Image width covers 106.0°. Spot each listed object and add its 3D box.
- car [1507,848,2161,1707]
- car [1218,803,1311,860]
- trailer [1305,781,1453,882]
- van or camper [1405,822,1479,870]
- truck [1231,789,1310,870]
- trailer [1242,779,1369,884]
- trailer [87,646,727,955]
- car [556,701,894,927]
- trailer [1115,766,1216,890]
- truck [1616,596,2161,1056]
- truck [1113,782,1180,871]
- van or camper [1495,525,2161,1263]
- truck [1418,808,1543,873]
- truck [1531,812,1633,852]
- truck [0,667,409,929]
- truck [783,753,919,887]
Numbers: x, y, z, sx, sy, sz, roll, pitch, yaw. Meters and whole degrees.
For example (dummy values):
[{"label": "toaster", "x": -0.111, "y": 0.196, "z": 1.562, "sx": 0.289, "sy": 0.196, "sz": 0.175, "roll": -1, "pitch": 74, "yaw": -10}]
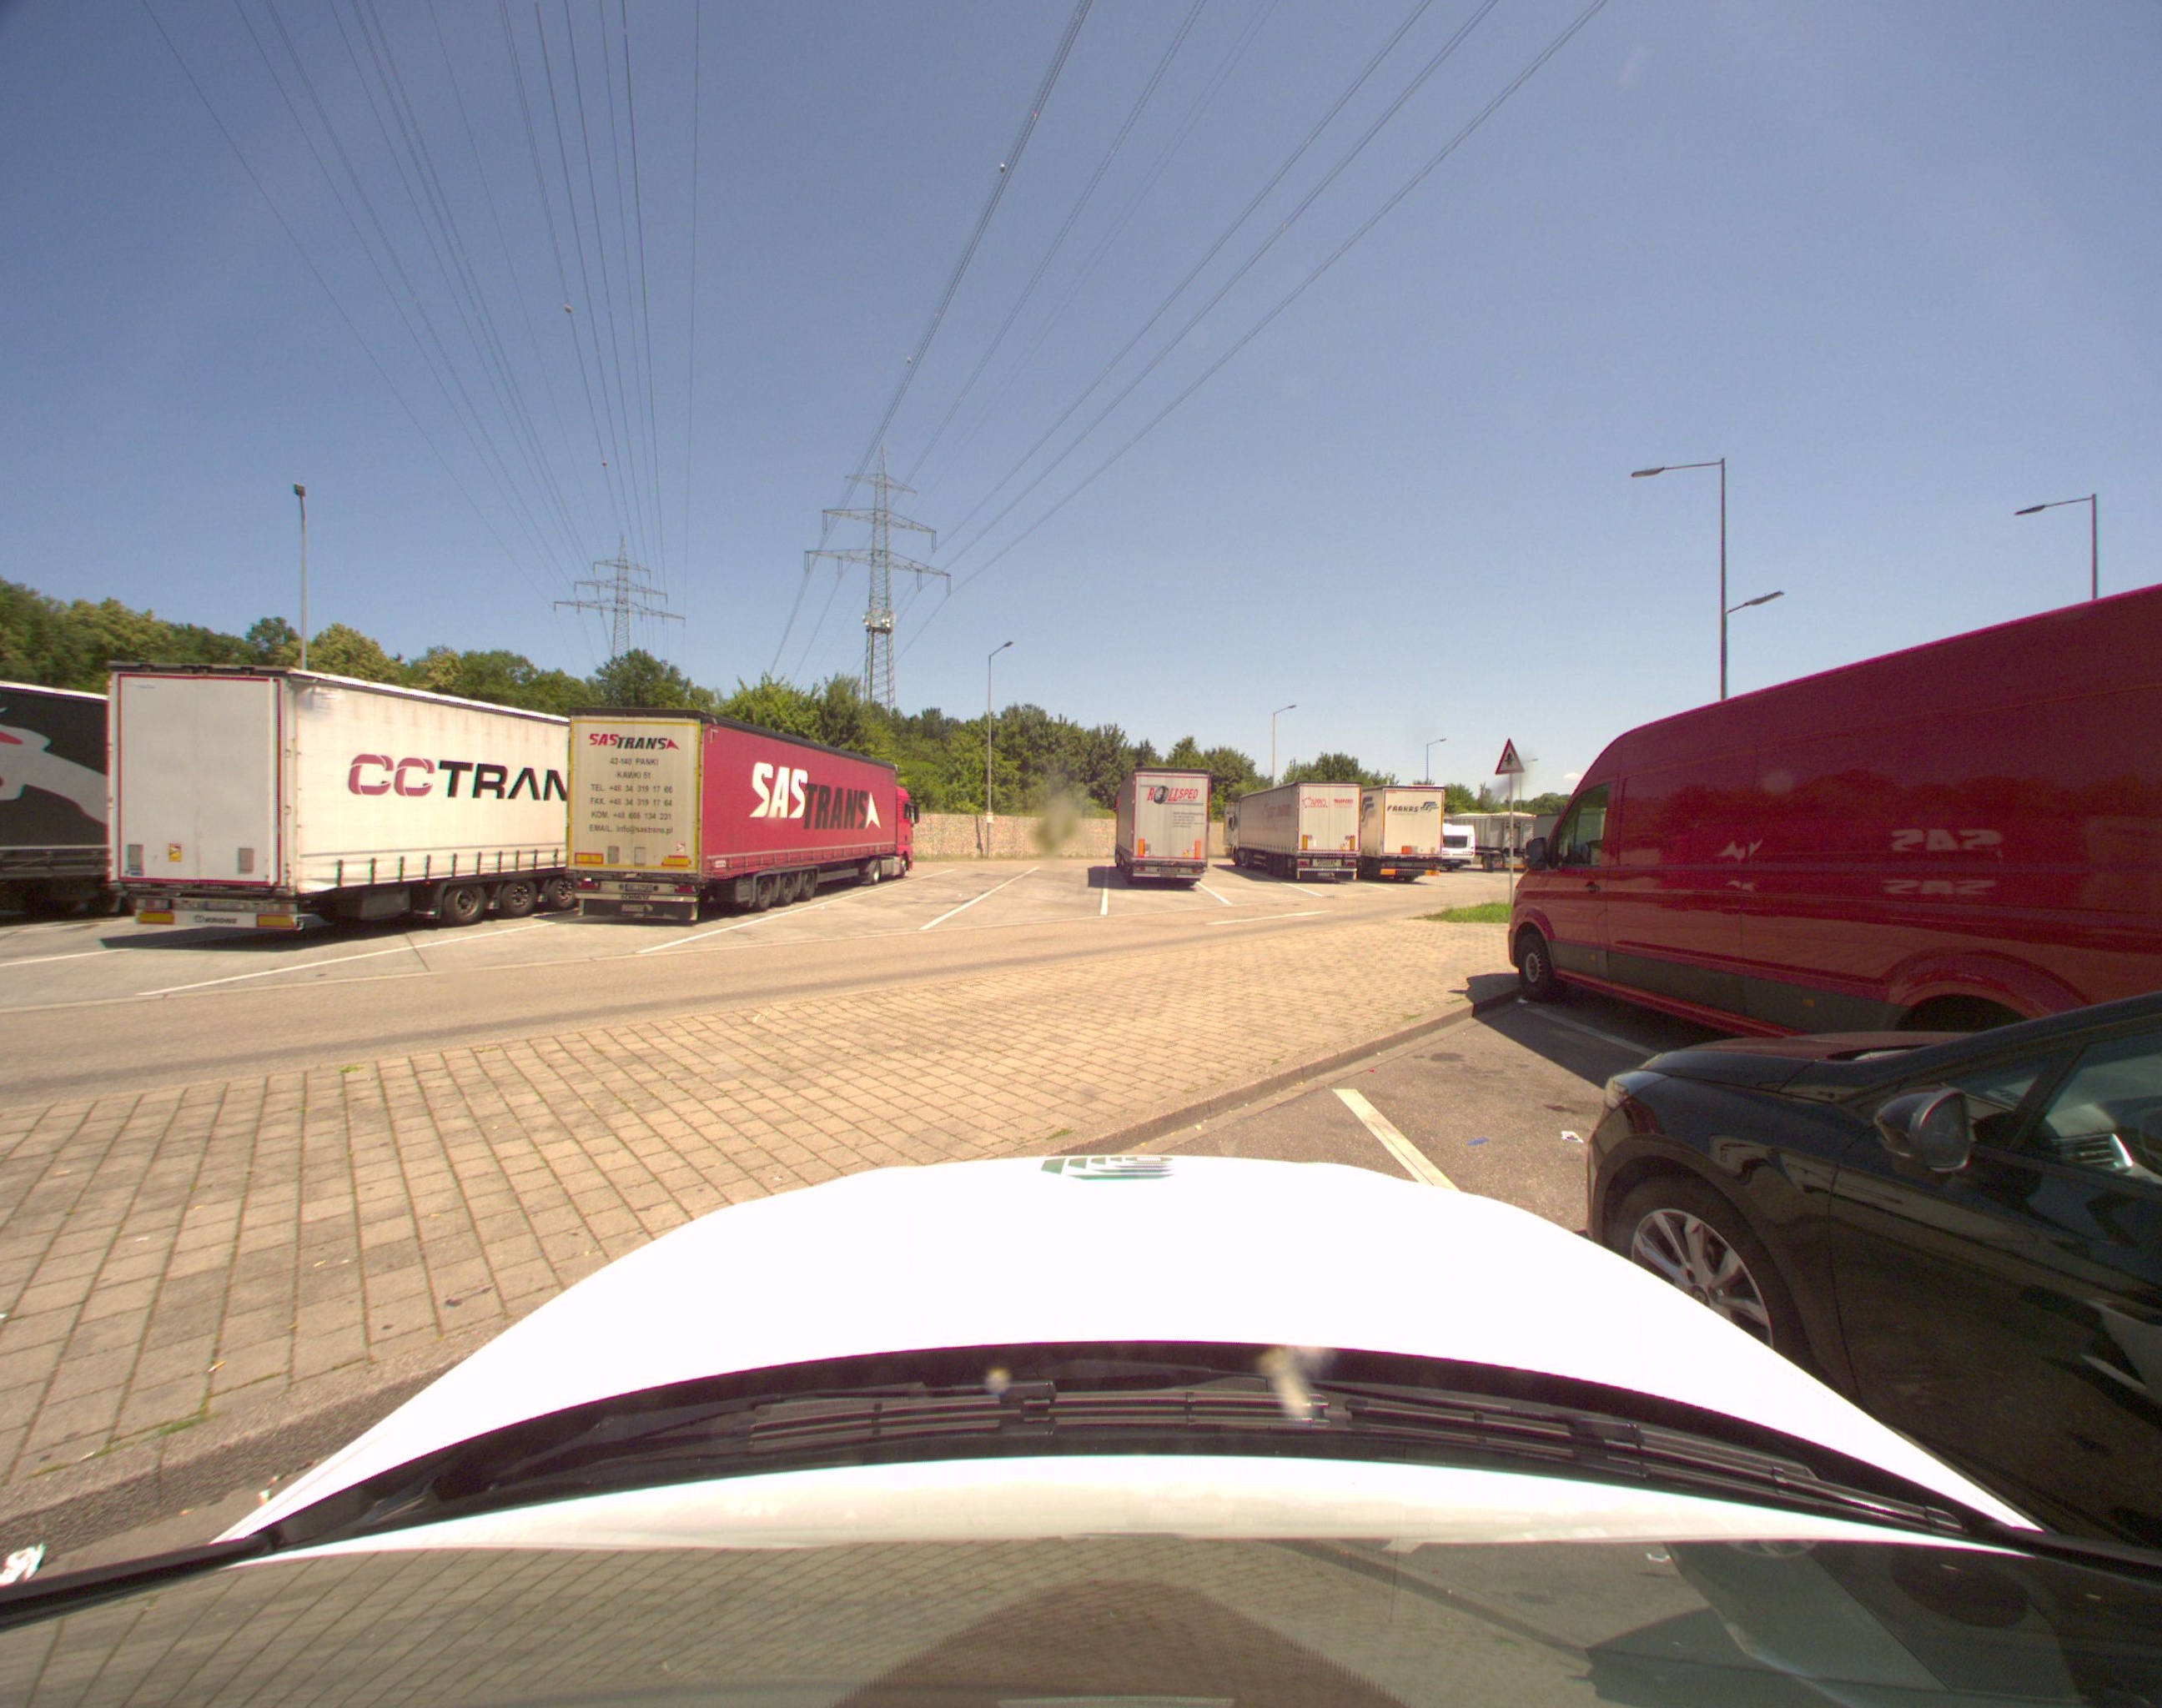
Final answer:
[{"label": "car", "x": 2.458, "y": 0.753, "z": 1.131, "sx": 1.612, "sy": 1.483, "sz": 3.762, "roll": -1, "pitch": 1, "yaw": -4}, {"label": "car", "x": 14.098, "y": -1.702, "z": 62.163, "sx": 8.517, "sy": 4.043, "sz": 2.656, "roll": -1, "pitch": 3, "yaw": -45}, {"label": "trailer", "x": 13.650, "y": -1.123, "z": 38.866, "sx": 2.855, "sy": 4.037, "sz": 12.445, "roll": 1, "pitch": 2, "yaw": 2}, {"label": "van or camper", "x": 20.599, "y": -0.464, "z": 46.729, "sx": 2.096, "sy": 2.561, "sz": 5.376, "roll": -1, "pitch": 1, "yaw": 3}, {"label": "truck", "x": 10.189, "y": -1.369, "z": 44.523, "sx": 2.856, "sy": 4.037, "sz": 6.960, "roll": 1, "pitch": 2, "yaw": 2}, {"label": "trailer", "x": 9.962, "y": -1.104, "z": 37.891, "sx": 2.855, "sy": 4.037, "sz": 12.445, "roll": 1, "pitch": 2, "yaw": 2}, {"label": "trailer", "x": -12.157, "y": -0.981, "z": 17.781, "sx": 2.803, "sy": 4.266, "sz": 12.947, "roll": 0, "pitch": 2, "yaw": 2}, {"label": "car", "x": -8.043, "y": -0.939, "z": 21.424, "sx": 2.686, "sy": 4.112, "sz": 12.943, "roll": 1, "pitch": 2, "yaw": 2}, {"label": "trailer", "x": 3.053, "y": -1.106, "z": 33.719, "sx": 2.857, "sy": 4.037, "sz": 14.244, "roll": 0, "pitch": 2, "yaw": 1}, {"label": "truck", "x": 7.944, "y": -0.212, "z": 7.054, "sx": 2.455, "sy": 2.792, "sz": 6.978, "roll": 0, "pitch": 1, "yaw": 4}, {"label": "truck", "x": 3.147, "y": -1.396, "z": 40.807, "sx": 2.857, "sy": 4.037, "sz": 7.029, "roll": 0, "pitch": 2, "yaw": 1}, {"label": "van or camper", "x": 5.143, "y": 0.099, "z": 5.482, "sx": 1.986, "sy": 2.654, "sz": 6.490, "roll": -1, "pitch": 1, "yaw": 6}, {"label": "truck", "x": 24.309, "y": -0.955, "z": 50.488, "sx": 2.478, "sy": 3.568, "sz": 11.429, "roll": 1, "pitch": 2, "yaw": 2}, {"label": "truck", "x": 38.045, "y": -1.639, "z": 62.364, "sx": 2.117, "sy": 2.820, "sz": 9.783, "roll": -1, "pitch": 1, "yaw": 2}, {"label": "truck", "x": -18.612, "y": -1.029, "z": 16.262, "sx": 2.803, "sy": 4.190, "sz": 8.793, "roll": 0, "pitch": 2, "yaw": 2}, {"label": "truck", "x": -7.742, "y": -1.158, "z": 28.341, "sx": 2.686, "sy": 4.112, "sz": 6.243, "roll": 1, "pitch": 2, "yaw": 2}]
